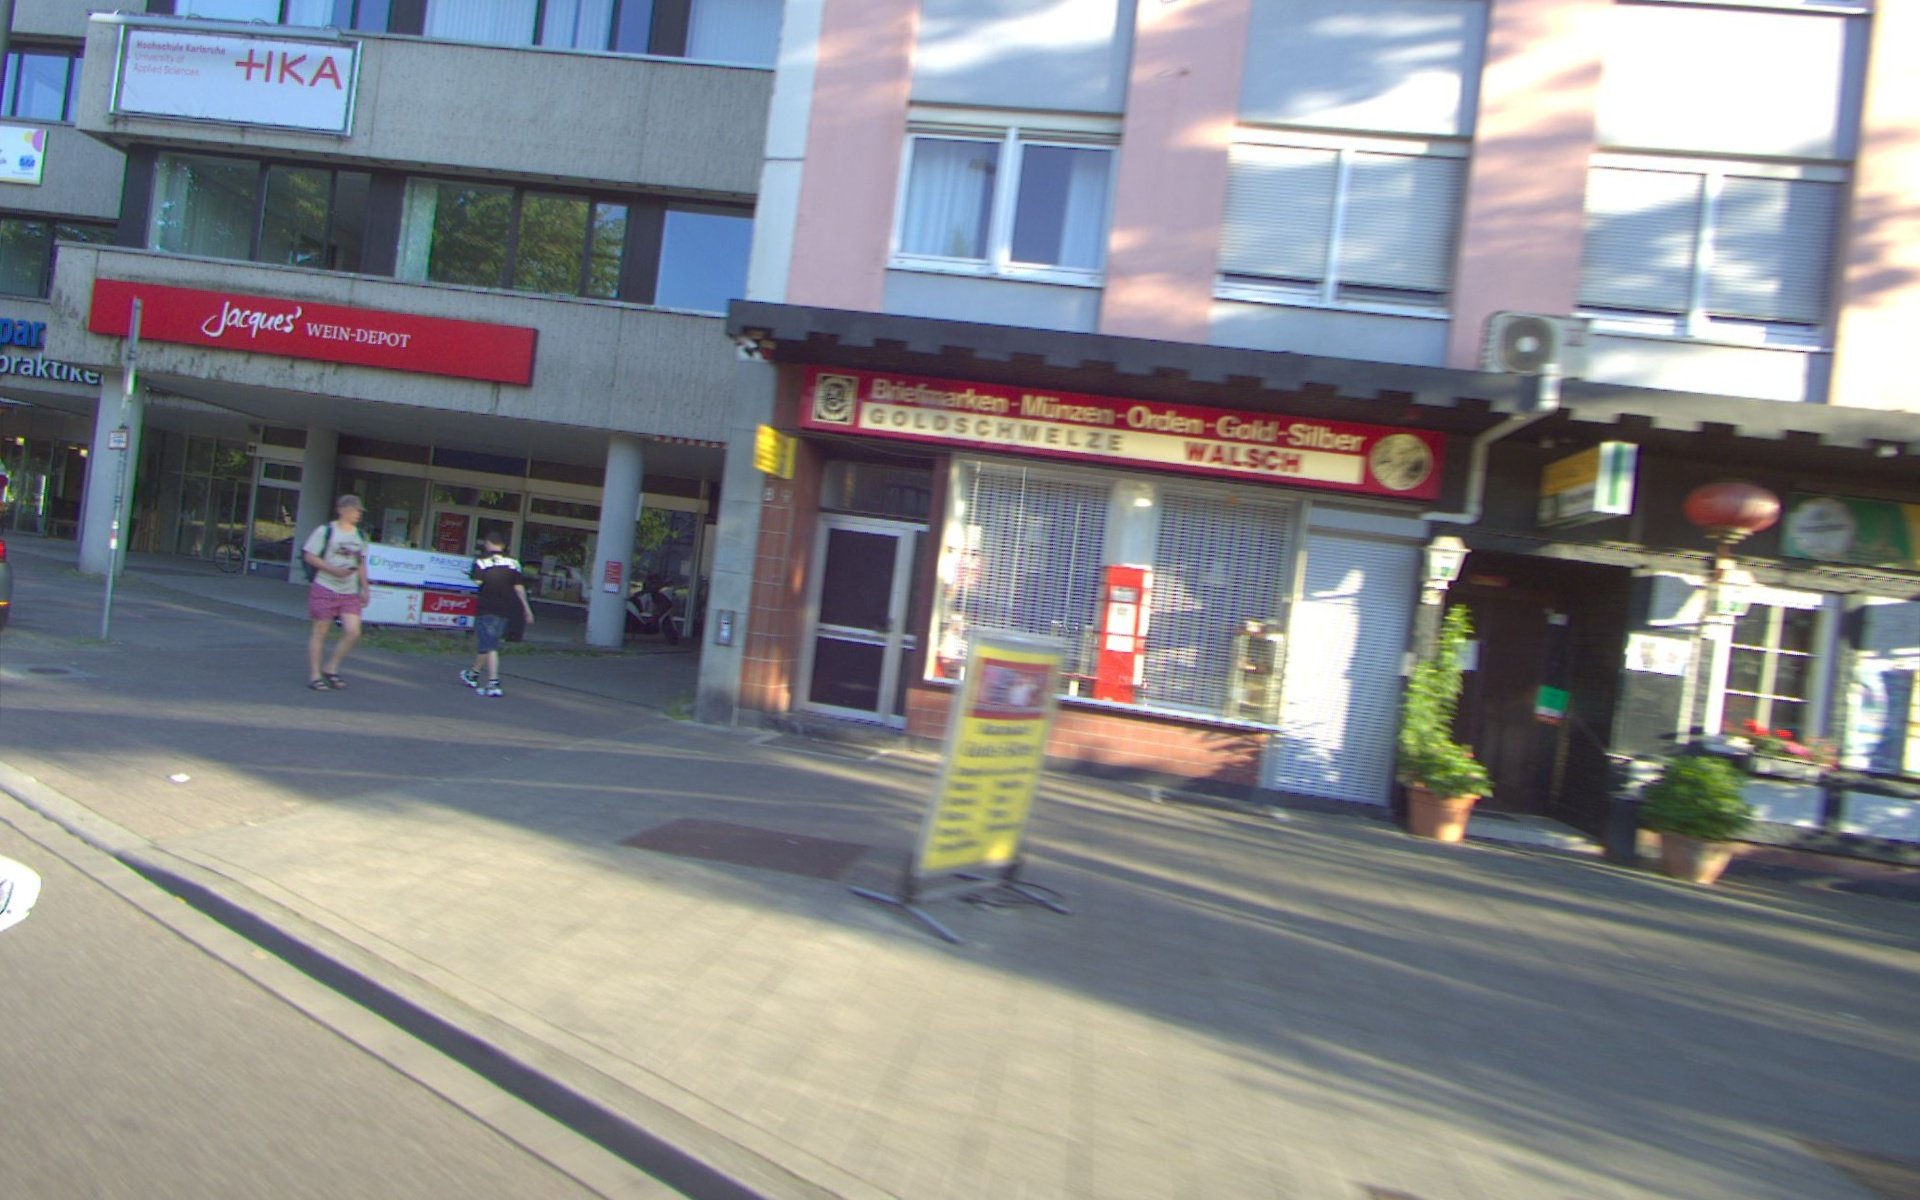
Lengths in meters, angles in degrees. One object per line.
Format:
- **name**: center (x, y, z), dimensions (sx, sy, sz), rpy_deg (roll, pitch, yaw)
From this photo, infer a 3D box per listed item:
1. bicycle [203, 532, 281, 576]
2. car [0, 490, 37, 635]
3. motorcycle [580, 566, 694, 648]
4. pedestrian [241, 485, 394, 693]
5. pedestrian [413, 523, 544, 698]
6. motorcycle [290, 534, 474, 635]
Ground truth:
- **bicycle**: center (-16.862, -1.068, 23.652), dimensions (0.429, 0.838, 1.398), rpy_deg (8, -2, 22)
- **car**: center (-11.800, -0.627, 10.810), dimensions (3.935, 1.473, 1.787), rpy_deg (6, -1, 33)
- **motorcycle**: center (-5.966, 0.144, 18.660), dimensions (1.786, 1.309, 0.661), rpy_deg (7, 0, -43)
- **pedestrian**: center (-6.075, -0.097, 9.541), dimensions (0.840, 1.808, 0.641), rpy_deg (8, 1, 8)
- **pedestrian**: center (-4.945, 0.105, 10.370), dimensions (0.840, 1.648, 0.641), rpy_deg (8, 2, 8)
- **motorcycle**: center (-8.332, -0.179, 14.653), dimensions (0.692, 1.204, 2.284), rpy_deg (7, -1, 21)
